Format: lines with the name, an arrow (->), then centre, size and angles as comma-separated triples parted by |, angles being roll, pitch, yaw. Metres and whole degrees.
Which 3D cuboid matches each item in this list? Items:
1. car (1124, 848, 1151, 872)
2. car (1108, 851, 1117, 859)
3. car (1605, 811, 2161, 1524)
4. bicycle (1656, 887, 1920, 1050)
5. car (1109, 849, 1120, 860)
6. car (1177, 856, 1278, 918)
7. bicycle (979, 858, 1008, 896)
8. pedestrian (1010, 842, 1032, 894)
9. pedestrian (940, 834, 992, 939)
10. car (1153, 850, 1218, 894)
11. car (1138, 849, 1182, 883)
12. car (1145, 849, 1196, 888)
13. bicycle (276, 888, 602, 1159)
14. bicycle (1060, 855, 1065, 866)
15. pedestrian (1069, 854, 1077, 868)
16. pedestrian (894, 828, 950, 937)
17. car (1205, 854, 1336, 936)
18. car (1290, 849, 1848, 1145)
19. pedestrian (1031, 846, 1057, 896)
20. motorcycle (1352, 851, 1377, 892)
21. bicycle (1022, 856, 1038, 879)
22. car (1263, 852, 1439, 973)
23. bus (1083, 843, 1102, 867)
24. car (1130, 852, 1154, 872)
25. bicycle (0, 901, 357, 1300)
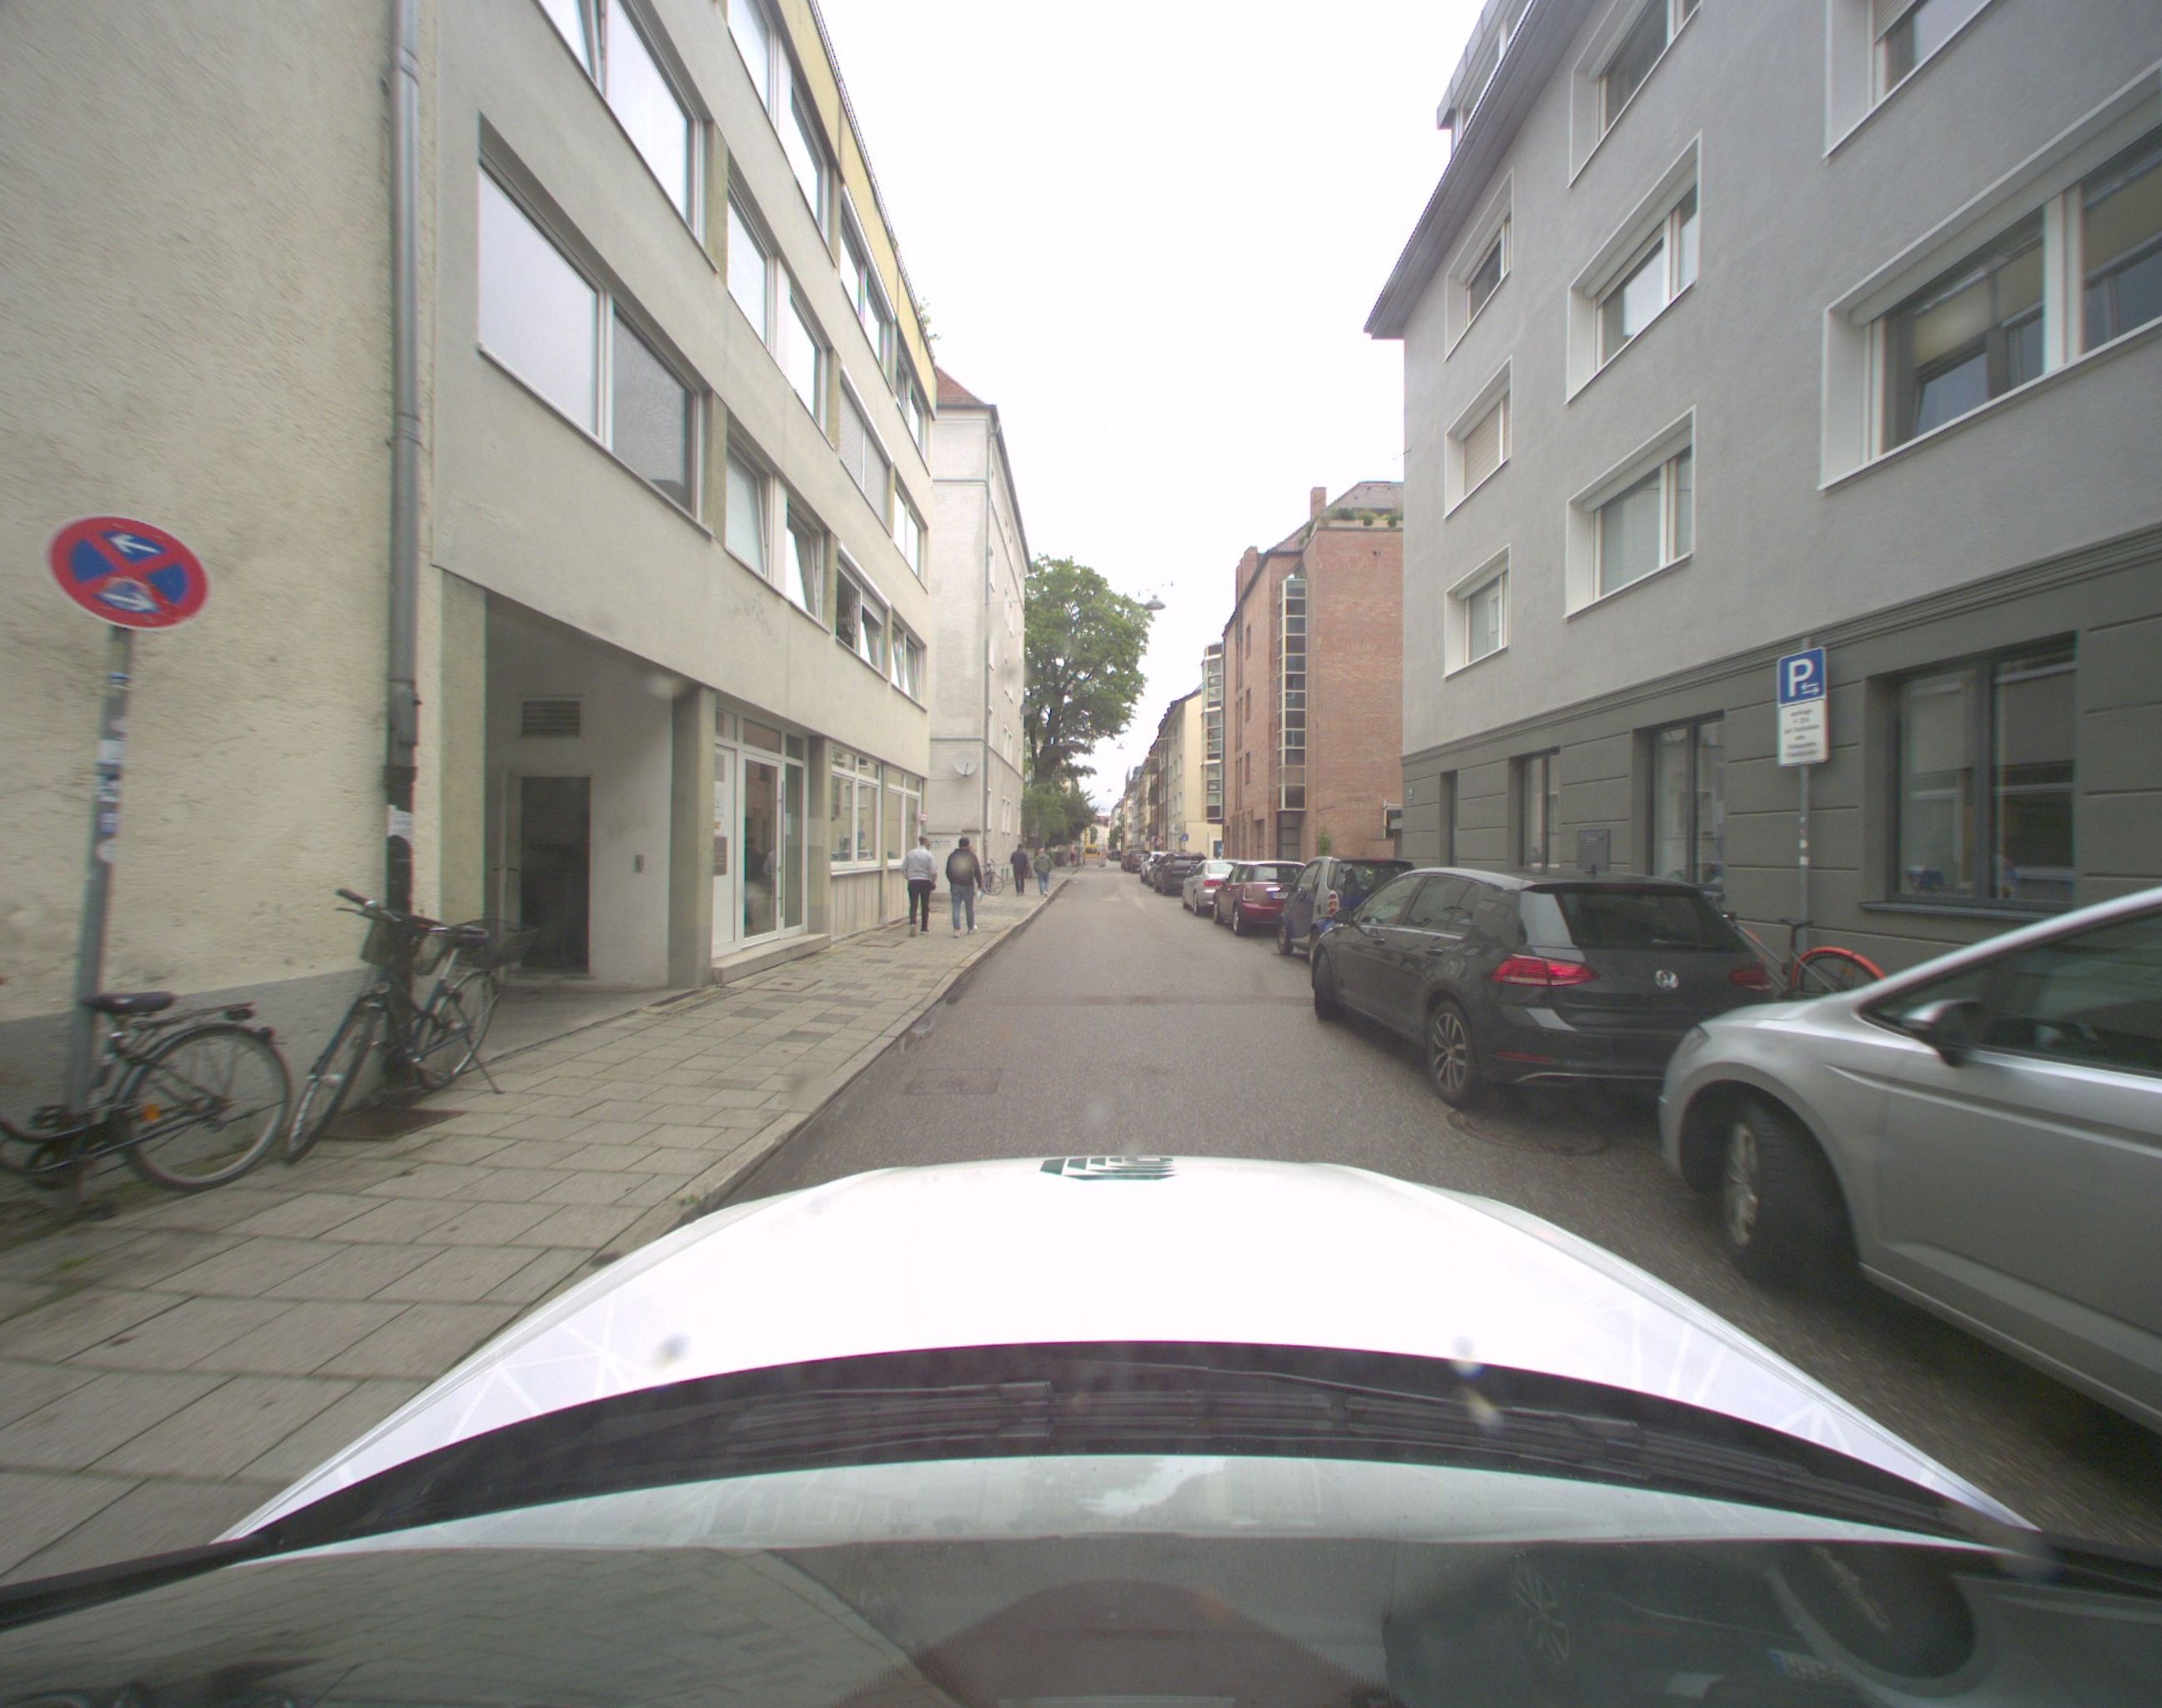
car -> 4.662, 0.505, 67.730 | 1.796, 1.820, 3.998 | 4, 0, -1
car -> 6.720, 0.235, 173.820 | 1.794, 1.614, 4.001 | 1, 0, 1
car -> 3.304, 0.673, 1.491 | 1.870, 1.570, 4.315 | -1, 0, -1
bicycle -> 5.802, 0.865, 6.872 | 0.566, 1.091, 1.997 | 0, 0, 2
car -> 5.973, 0.110, 145.296 | 1.796, 1.712, 3.825 | 4, 0, -1
car -> 3.719, 0.780, 21.394 | 1.830, 1.417, 4.600 | 1, 0, 0
bicycle -> -2.982, 0.757, 27.540 | 0.643, 1.217, 1.655 | 0, -1, -18
pedestrian -> -2.036, 0.483, 27.811 | 0.610, 1.713, 0.823 | 2, -1, 1
pedestrian -> -2.006, 0.555, 14.261 | 0.716, 1.765, 0.838 | 2, -1, 1
car -> 3.932, 0.641, 31.242 | 1.880, 1.555, 4.390 | 1, 0, -1
car -> 3.990, 0.571, 41.559 | 1.743, 1.630, 4.194 | 0, 0, -1
car -> 3.947, 0.631, 36.368 | 1.716, 1.635, 3.878 | -1, 0, -2
bicycle -> -3.428, 0.805, 4.575 | 0.561, 1.159, 1.718 | 0, 0, -5
bicycle -> -1.878, 0.688, 81.571 | 0.445, 1.073, 2.467 | -1, 0, 0
pedestrian -> -0.822, 0.717, 85.290 | 0.753, 1.491, 0.831 | -1, -1, 1
pedestrian -> -2.745, 0.483, 14.141 | 0.716, 1.796, 0.917 | 2, -1, 1
car -> 3.746, 0.744, 16.793 | 1.740, 1.462, 4.150 | 1, 0, 0
car -> 3.100, 0.744, 6.396 | 1.834, 1.528, 4.292 | 1, 0, 0
pedestrian -> -1.269, 0.589, 27.914 | 0.750, 1.659, 0.906 | 2, -1, 1
motorcycle -> 9.542, 0.578, 27.435 | 0.536, 1.345, 1.947 | -1, -1, 13
bicycle -> -2.661, 0.686, 42.152 | 0.474, 1.111, 1.750 | 1, 0, -16
car -> 3.784, 0.740, 11.924 | 1.516, 1.511, 3.202 | 1, 0, 0
bus -> 1.664, 0.160, 113.524 | 2.583, 3.102, 6.307 | -1, 0, 1
car -> 4.734, 0.608, 63.367 | 1.619, 1.487, 3.809 | 1, 0, 1
bicycle -> -3.542, 0.796, 2.860 | 0.456, 1.159, 1.606 | 2, 0, 2
